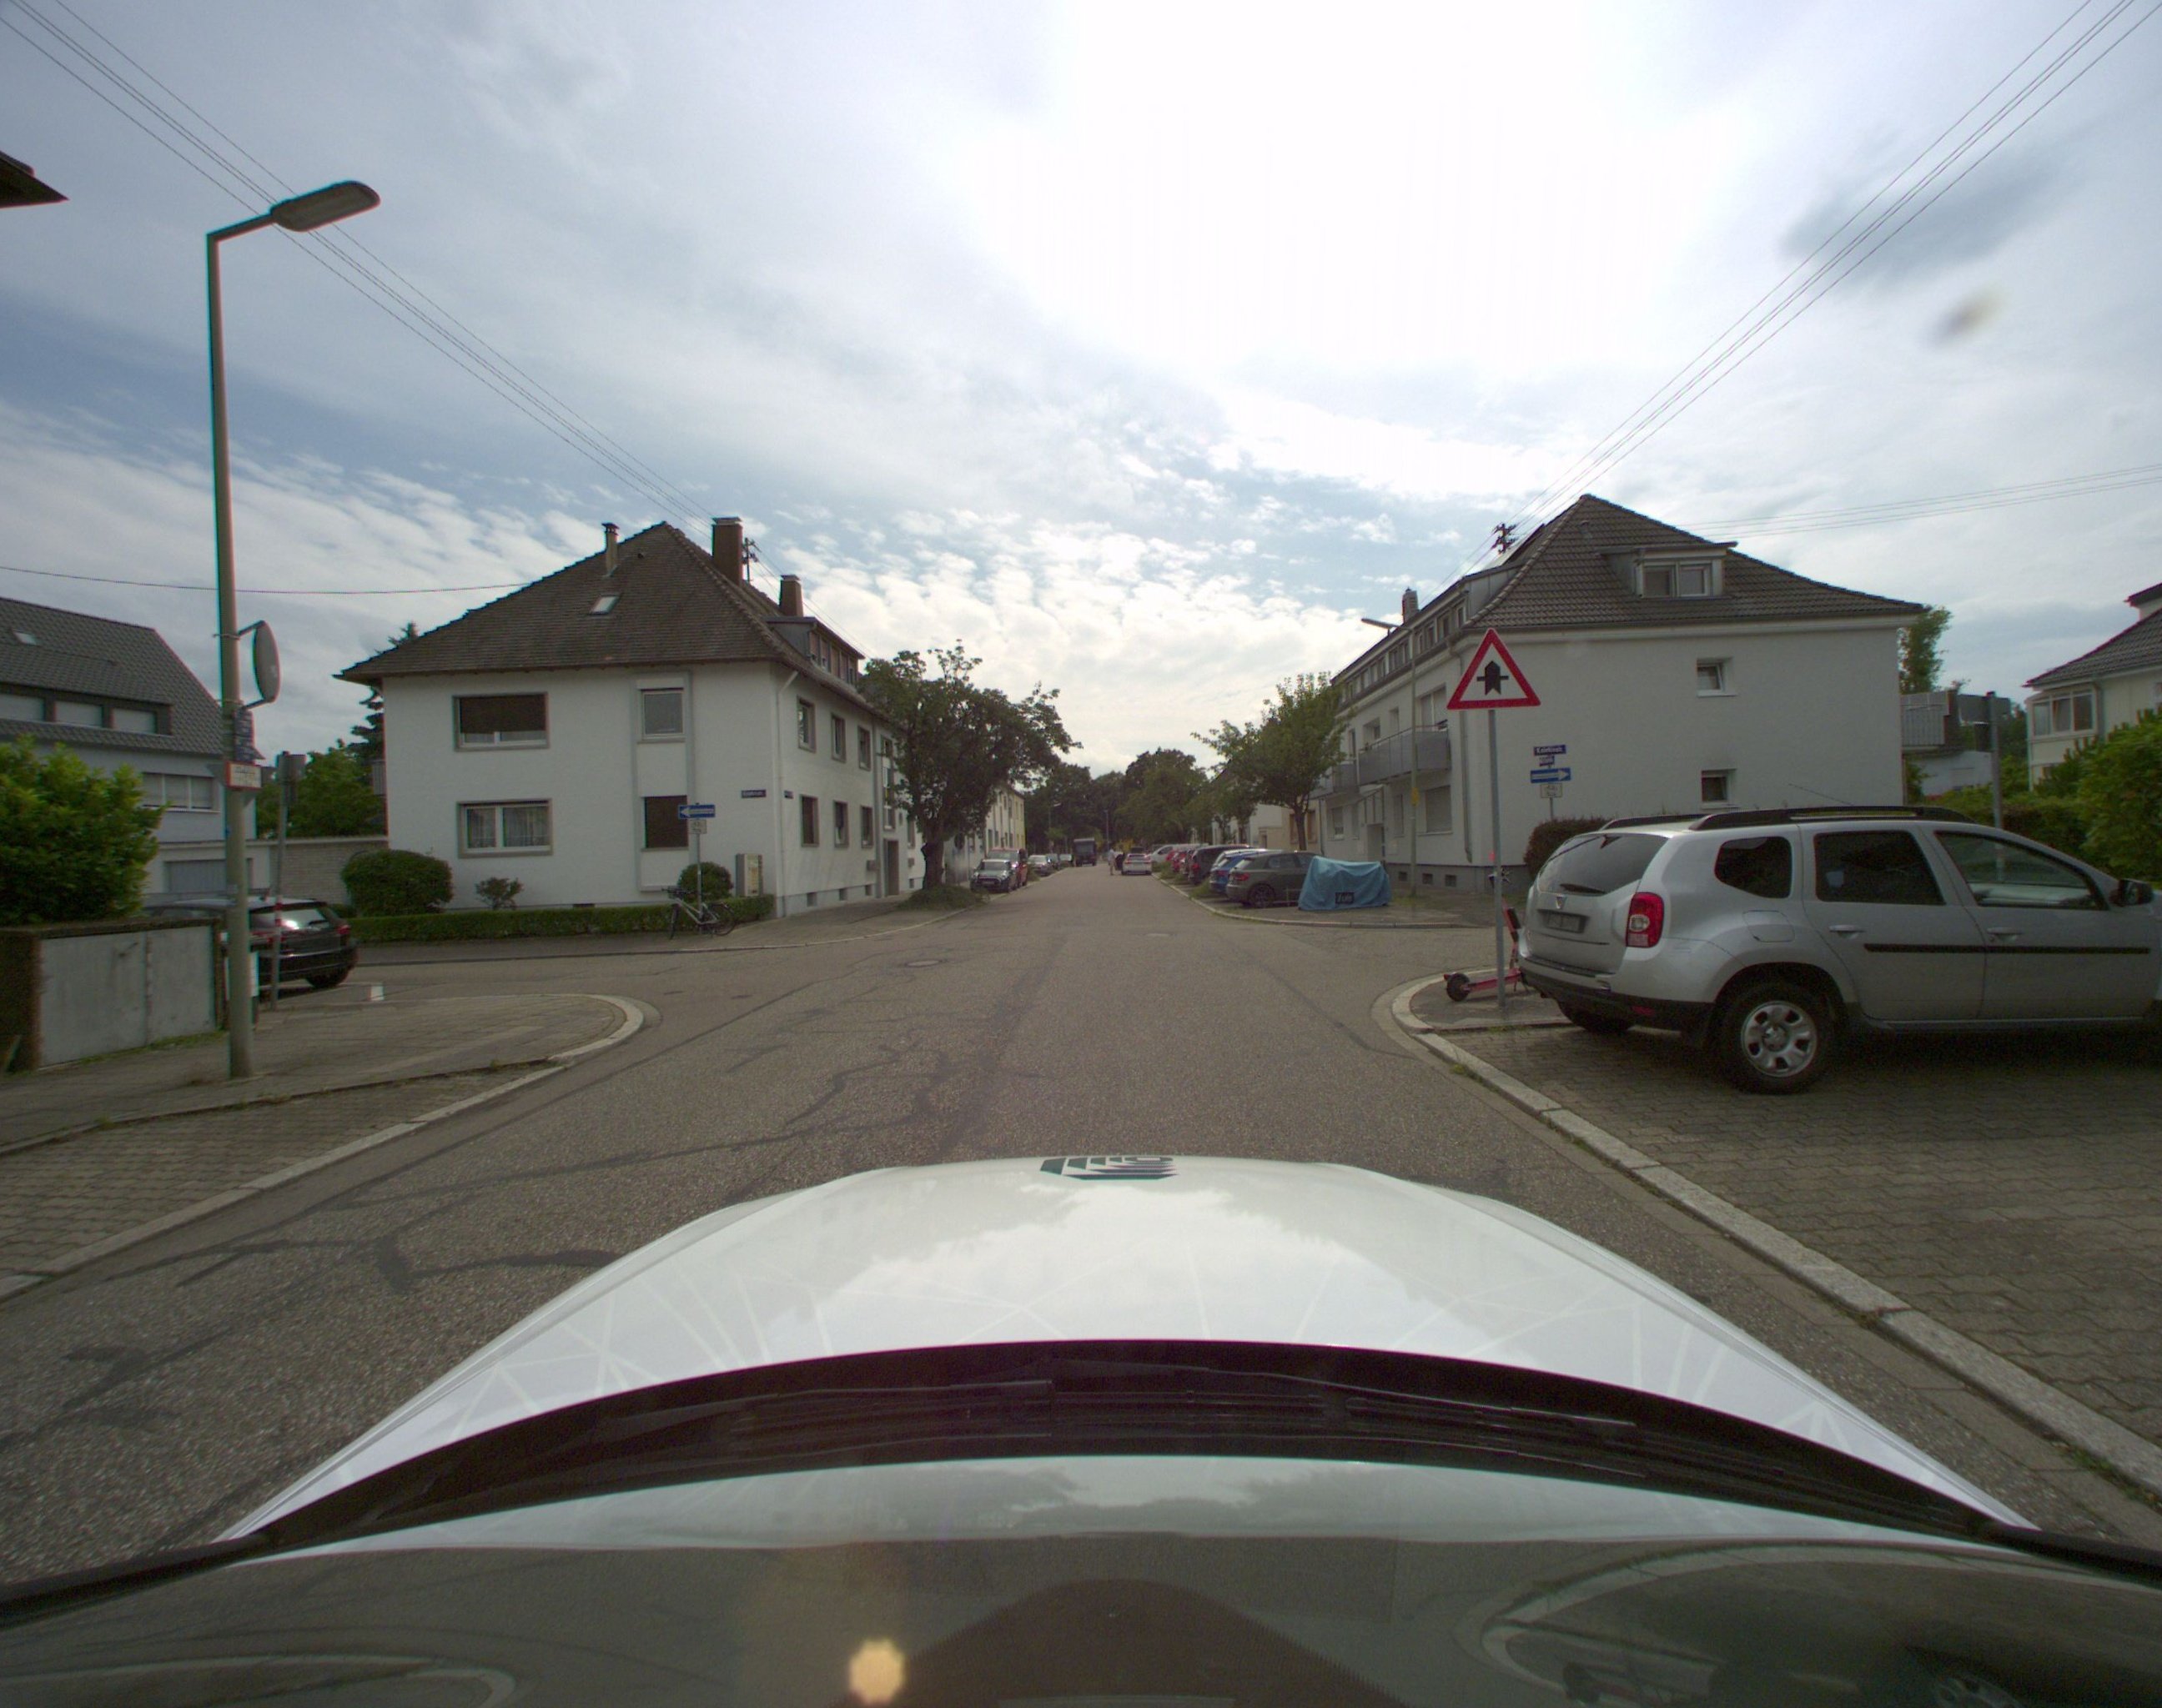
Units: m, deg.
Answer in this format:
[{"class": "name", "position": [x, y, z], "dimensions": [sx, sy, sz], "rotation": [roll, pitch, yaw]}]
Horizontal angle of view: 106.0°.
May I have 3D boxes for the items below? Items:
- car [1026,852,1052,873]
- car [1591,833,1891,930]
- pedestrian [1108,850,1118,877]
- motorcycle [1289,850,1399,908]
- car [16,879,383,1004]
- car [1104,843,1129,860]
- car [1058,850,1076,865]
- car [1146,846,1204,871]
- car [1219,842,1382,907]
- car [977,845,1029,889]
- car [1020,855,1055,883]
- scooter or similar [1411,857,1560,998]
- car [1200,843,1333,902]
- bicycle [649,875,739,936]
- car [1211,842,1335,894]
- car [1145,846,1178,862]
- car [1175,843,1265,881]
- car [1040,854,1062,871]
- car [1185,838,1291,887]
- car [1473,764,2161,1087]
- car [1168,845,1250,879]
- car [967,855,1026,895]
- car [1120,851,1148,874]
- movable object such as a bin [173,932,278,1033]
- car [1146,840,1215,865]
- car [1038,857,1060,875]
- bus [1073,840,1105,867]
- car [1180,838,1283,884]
[{"class": "car", "position": [-3.019, 0.614, 59.335], "dimensions": [1.646, 1.377, 3.721], "rotation": [-4, 0, 0]}, {"class": "car", "position": [11.259, 0.444, 14.095], "dimensions": [3.787, 1.443, 1.664], "rotation": [-2, 0, 2]}, {"class": "pedestrian", "position": [2.087, 0.593, 52.586], "dimensions": [0.519, 1.704, 0.445], "rotation": [-4, 0, 6]}, {"class": "motorcycle", "position": [6.001, 0.560, 18.656], "dimensions": [2.186, 1.210, 0.940], "rotation": [-2, 0, 0]}, {"class": "car", "position": [-12.843, 1.240, 11.997], "dimensions": [3.737, 1.422, 1.667], "rotation": [-4, 0, 6]}, {"class": "car", "position": [3.799, -0.237, 86.542], "dimensions": [1.980, 1.618, 4.013], "rotation": [-4, 0, 11]}, {"class": "car", "position": [-1.518, 0.355, 92.208], "dimensions": [1.614, 1.502, 4.004], "rotation": [-4, 0, 3]}, {"class": "car", "position": [6.805, 0.334, 59.104], "dimensions": [3.972, 1.518, 1.723], "rotation": [-4, 0, 2]}, {"class": "car", "position": [5.617, 0.514, 21.176], "dimensions": [3.732, 1.365, 1.774], "rotation": [-4, 0, 3]}, {"class": "car", "position": [-3.878, 0.626, 41.376], "dimensions": [1.986, 2.013, 4.522], "rotation": [-2, 0, 2]}, {"class": "car", "position": [-2.477, 0.836, 47.505], "dimensions": [1.645, 1.461, 3.554], "rotation": [-4, 0, 2]}, {"class": "scooter or similar", "position": [3.960, 0.694, 7.987], "dimensions": [1.239, 1.243, 0.420], "rotation": [-4, 0, -11]}, {"class": "car", "position": [5.340, 0.526, 23.737], "dimensions": [3.504, 1.412, 1.560], "rotation": [-4, 0, 2]}, {"class": "bicycle", "position": [-8.285, 1.094, 17.474], "dimensions": [1.629, 1.179, 0.435], "rotation": [-4, 0, -2]}, {"class": "car", "position": [6.727, 0.492, 28.839], "dimensions": [3.972, 1.518, 1.723], "rotation": [-4, 0, 2]}, {"class": "car", "position": [9.043, -0.016, 91.487], "dimensions": [3.515, 1.602, 1.774], "rotation": [-4, 0, 3]}, {"class": "car", "position": [6.621, 0.356, 39.080], "dimensions": [3.972, 1.518, 1.723], "rotation": [-4, 0, 2]}, {"class": "car", "position": [-2.640, 0.716, 72.906], "dimensions": [1.645, 1.377, 3.723], "rotation": [-4, 0, 2]}, {"class": "car", "position": [5.967, 0.319, 31.359], "dimensions": [3.732, 1.564, 1.774], "rotation": [-4, 0, 3]}, {"class": "car", "position": [5.114, 0.379, 5.563], "dimensions": [3.910, 1.633, 1.868], "rotation": [-4, 0, 1]}, {"class": "car", "position": [6.613, 0.397, 42.434], "dimensions": [3.972, 1.438, 1.723], "rotation": [-4, 0, 2]}, {"class": "car", "position": [-3.689, 0.876, 36.207], "dimensions": [1.755, 1.554, 3.737], "rotation": [-4, 0, 6]}, {"class": "car", "position": [3.453, 0.543, 53.242], "dimensions": [1.680, 1.354, 3.830], "rotation": [-4, 0, 4]}, {"class": "movable object such as a bin", "position": [-8.573, 1.276, 8.175], "dimensions": [0.485, 0.907, 0.475], "rotation": [-4, 0, -4]}, {"class": "car", "position": [7.478, -0.094, 61.435], "dimensions": [4.958, 1.518, 1.768], "rotation": [-4, 0, 0]}, {"class": "car", "position": [-2.500, 0.919, 64.385], "dimensions": [1.534, 1.301, 3.721], "rotation": [-4, 0, 0]}, {"class": "bus", "position": [1.015, -0.104, 91.064], "dimensions": [2.991, 2.761, 8.933], "rotation": [-2, 0, 4]}, {"class": "car", "position": [6.305, 0.286, 34.432], "dimensions": [3.971, 1.618, 1.869], "rotation": [-4, 0, 3]}]
